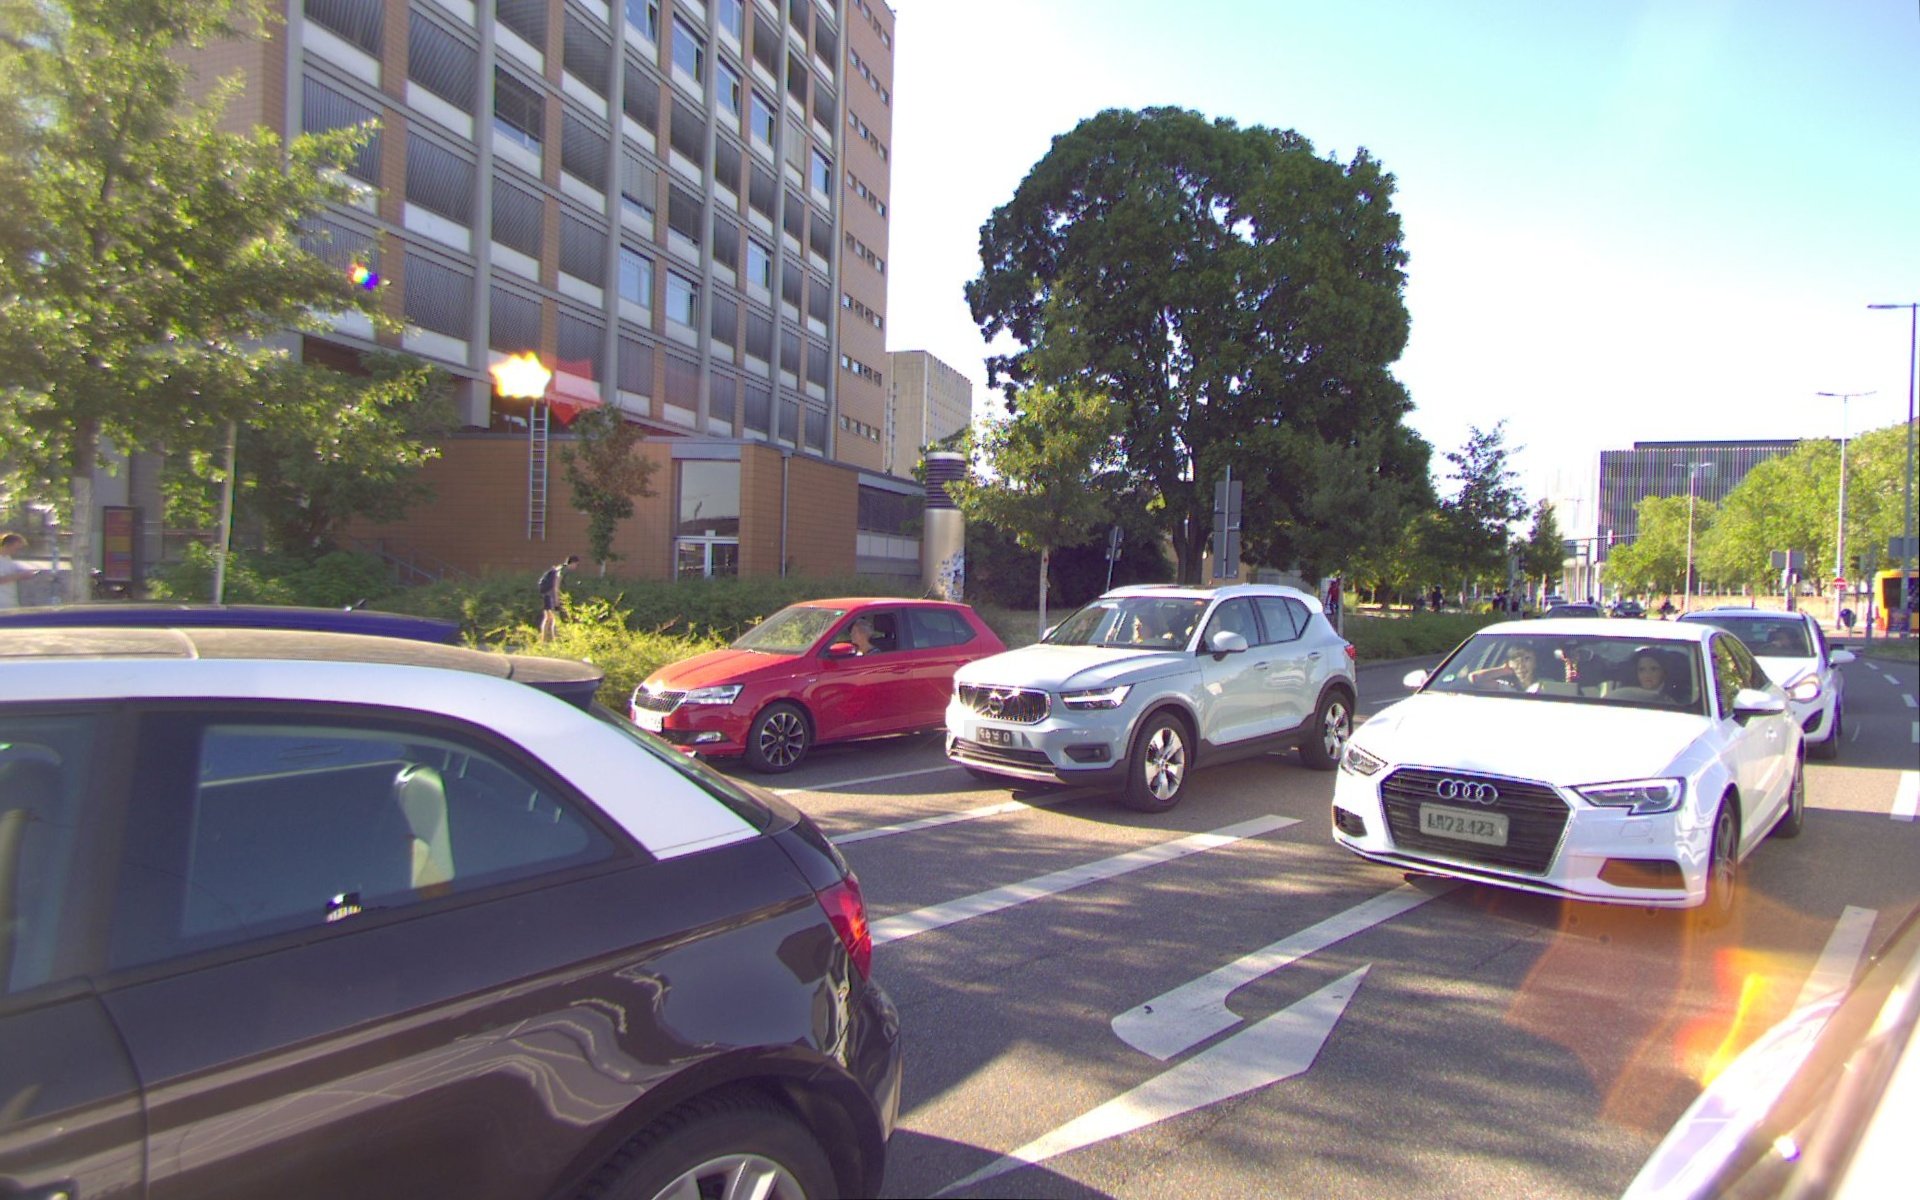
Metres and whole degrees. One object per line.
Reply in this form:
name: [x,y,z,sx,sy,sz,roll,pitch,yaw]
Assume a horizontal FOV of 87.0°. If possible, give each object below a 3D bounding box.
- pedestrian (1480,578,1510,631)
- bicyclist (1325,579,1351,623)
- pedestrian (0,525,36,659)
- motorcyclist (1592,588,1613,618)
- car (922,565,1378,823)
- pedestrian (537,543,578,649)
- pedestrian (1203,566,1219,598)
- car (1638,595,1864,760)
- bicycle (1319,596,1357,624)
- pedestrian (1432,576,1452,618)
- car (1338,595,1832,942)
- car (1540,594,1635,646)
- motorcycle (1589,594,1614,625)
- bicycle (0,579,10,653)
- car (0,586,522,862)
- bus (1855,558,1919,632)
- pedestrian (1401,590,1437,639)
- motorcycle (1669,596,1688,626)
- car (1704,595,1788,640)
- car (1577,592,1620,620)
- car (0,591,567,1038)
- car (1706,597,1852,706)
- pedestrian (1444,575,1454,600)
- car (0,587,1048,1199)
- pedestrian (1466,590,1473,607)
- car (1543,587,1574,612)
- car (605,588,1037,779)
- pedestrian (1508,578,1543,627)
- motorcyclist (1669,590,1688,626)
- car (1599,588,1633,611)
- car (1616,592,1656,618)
pedestrian: [20.820,0.157,39.356,0.891,2.039,0.870,0,0,39]
bicyclist: [13.931,0.029,37.280,0.615,1.580,0.858,0,0,41]
pedestrian: [-12.106,-0.115,12.816,0.592,1.660,0.678,0,4,-43]
motorcyclist: [28.793,0.134,45.376,0.715,1.321,0.725,0,0,40]
car: [1.776,0.572,8.458,4.153,1.641,1.625,-1,0,-43]
pedestrian: [-7.424,-0.080,18.682,0.681,1.910,0.465,0,0,-24]
pedestrian: [16.542,-1.178,66.730,0.917,2.039,0.750,0,0,22]
car: [8.876,0.692,11.223,1.623,1.478,3.979,0,1,43]
bicycle: [13.959,0.353,37.336,0.657,0.975,2.005,2,2,41]
pedestrian: [18.759,-0.117,39.393,0.593,1.615,0.586,0,0,41]
car: [3.948,0.693,6.118,3.769,1.422,1.625,-1,0,-43]
car: [19.700,0.580,31.710,1.750,1.478,4.123,0,1,43]
motorcycle: [28.832,0.419,45.482,0.714,1.321,2.203,0,0,39]
bicycle: [-13.604,0.222,13.648,1.133,1.016,0.357,0,0,-11]
car: [-5.238,0.637,6.143,4.434,1.422,1.725,-1,1,-42]
bus: [45.177,-0.211,41.546,3.023,3.252,12.568,0,0,-23]
pedestrian: [16.610,0.510,36.623,1.005,1.742,0.873,0,0,39]
motorcycle: [32.867,0.468,46.315,0.713,1.321,2.206,0,0,35]
car: [28.047,0.594,36.228,1.741,1.478,4.146,0,0,29]
car: [38.198,0.338,60.517,1.738,1.544,3.943,2,2,39]
car: [-3.723,0.687,3.751,3.930,1.422,1.626,-1,0,-41]
car: [13.114,0.714,16.118,1.622,1.478,3.981,0,0,42]
pedestrian: [31.975,-0.785,66.127,0.543,1.627,0.598,0,0,30]
car: [-1.823,0.699,1.476,3.930,1.422,1.626,-1,0,-41]
pedestrian: [51.860,-0.120,103.051,0.475,1.706,0.399,1,1,-41]
car: [44.552,-0.052,75.393,1.730,1.727,3.962,2,1,27]
car: [-1.189,0.633,9.843,3.974,1.478,1.625,-1,0,-43]
pedestrian: [24.212,0.101,43.340,1.137,2.039,1.268,0,0,39]
motorcyclist: [32.830,0.344,46.252,0.707,1.610,0.681,0,0,36]
car: [51.587,-0.080,79.642,1.730,1.727,3.962,2,1,27]
car: [43.597,0.319,65.291,1.731,1.564,3.960,2,1,29]
